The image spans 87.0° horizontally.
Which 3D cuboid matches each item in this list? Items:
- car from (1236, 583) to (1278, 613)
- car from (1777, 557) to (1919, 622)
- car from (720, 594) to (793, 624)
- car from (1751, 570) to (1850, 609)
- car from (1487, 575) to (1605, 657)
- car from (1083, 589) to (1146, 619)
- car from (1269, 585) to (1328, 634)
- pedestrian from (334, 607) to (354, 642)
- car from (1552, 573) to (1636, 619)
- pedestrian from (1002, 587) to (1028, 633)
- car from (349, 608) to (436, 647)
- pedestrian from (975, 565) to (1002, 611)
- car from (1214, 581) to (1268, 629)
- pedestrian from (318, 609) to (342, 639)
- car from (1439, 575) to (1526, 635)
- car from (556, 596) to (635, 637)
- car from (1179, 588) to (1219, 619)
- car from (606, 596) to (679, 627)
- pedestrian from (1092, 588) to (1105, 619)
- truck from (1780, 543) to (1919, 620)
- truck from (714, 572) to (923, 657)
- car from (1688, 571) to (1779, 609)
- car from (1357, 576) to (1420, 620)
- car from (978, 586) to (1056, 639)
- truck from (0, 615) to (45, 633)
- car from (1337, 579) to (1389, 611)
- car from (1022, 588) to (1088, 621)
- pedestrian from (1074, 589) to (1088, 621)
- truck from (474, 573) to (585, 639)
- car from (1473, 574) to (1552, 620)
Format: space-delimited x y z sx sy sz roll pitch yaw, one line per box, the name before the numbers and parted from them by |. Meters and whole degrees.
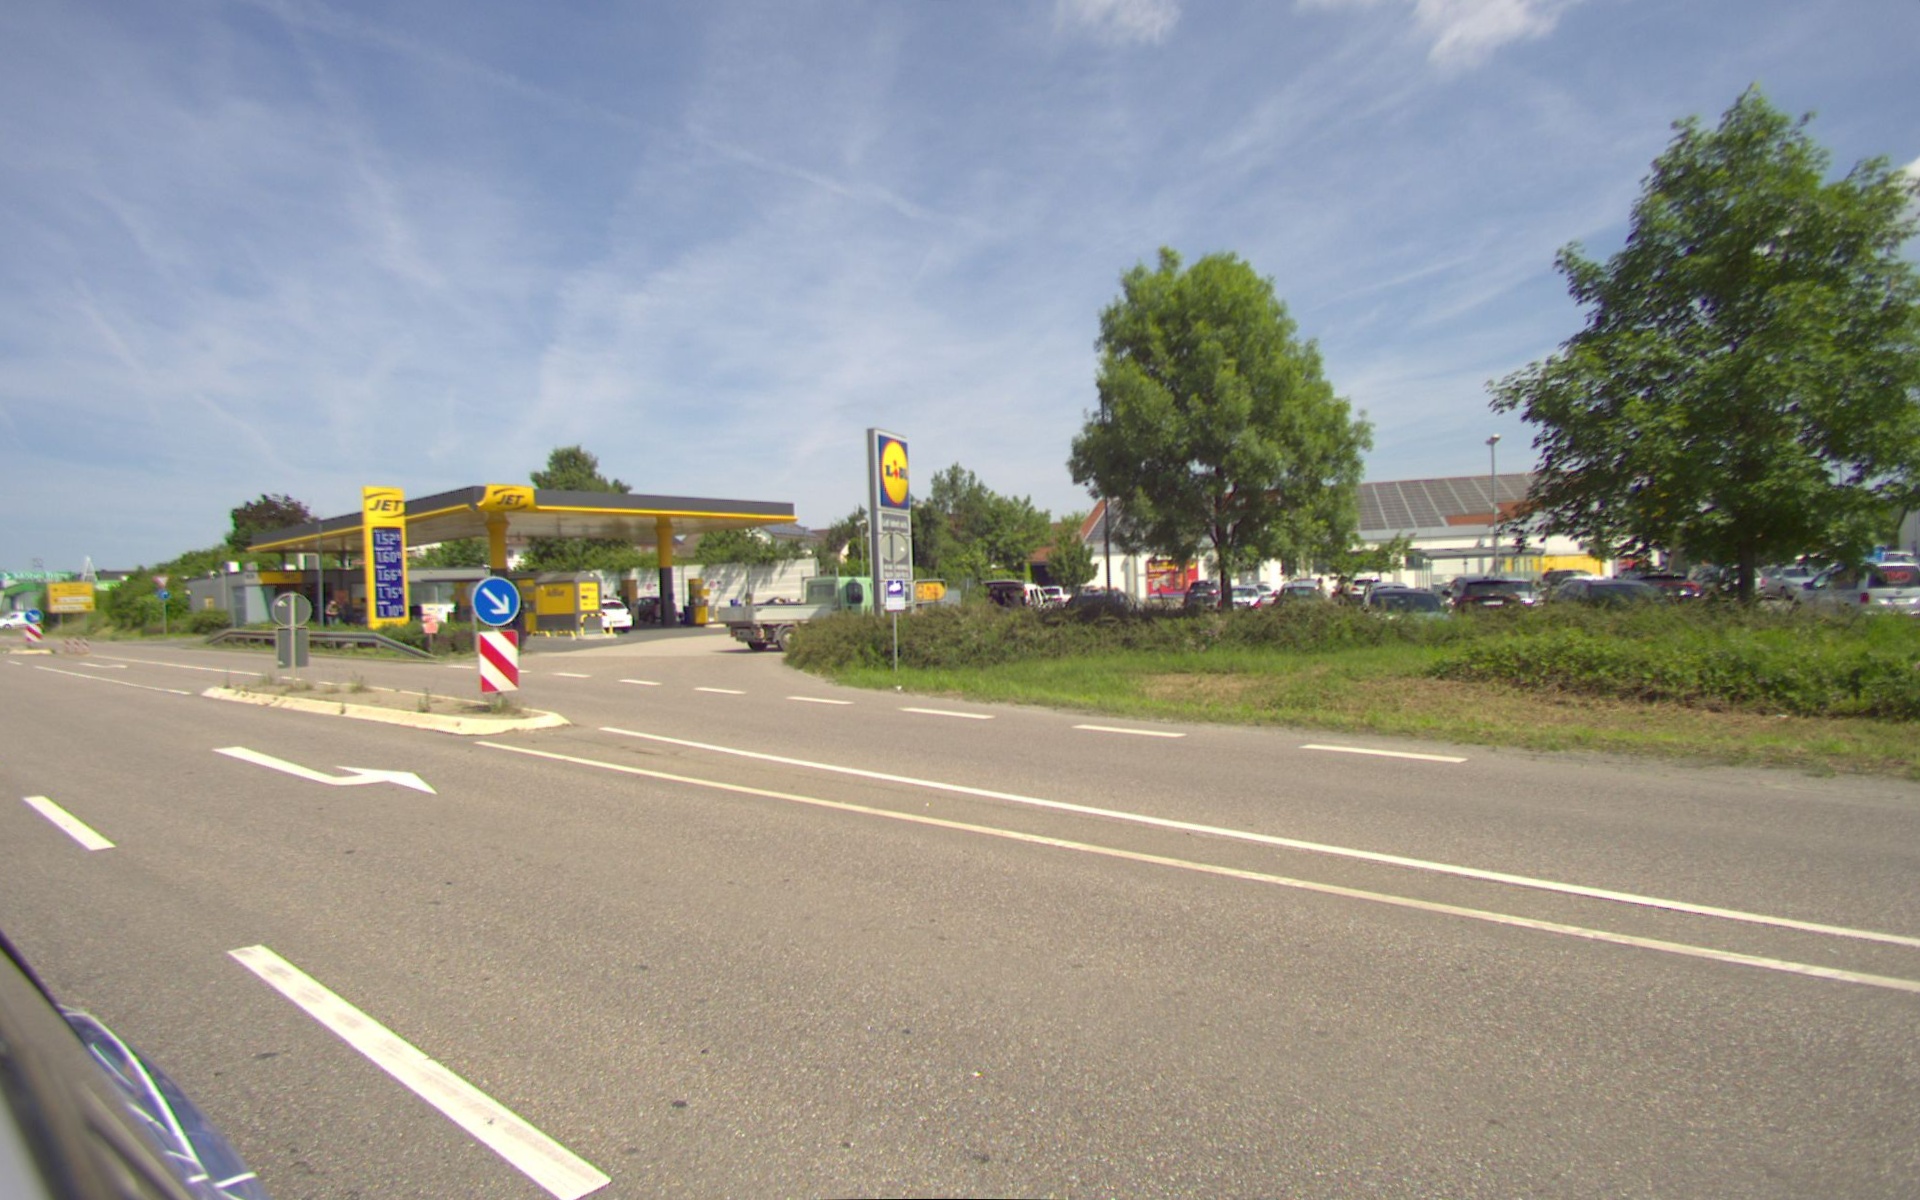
car | 14.908 -0.127 50.918 1.868 1.453 3.981 -1 1 15
car | 25.786 -0.279 29.001 1.981 1.708 4.408 -1 0 14
car | -11.827 0.500 58.973 3.827 1.625 1.750 -1 -1 5
car | 35.500 -0.432 42.877 1.865 1.553 4.231 -1 0 20
car | 12.982 0.318 22.635 1.683 1.670 3.971 -1 0 22
car | 8.112 0.197 53.009 1.879 1.453 3.958 -1 1 31
car | 11.458 0.281 34.290 1.769 1.513 4.122 -2 1 18
pedestrian | -33.766 1.343 55.466 0.639 1.852 0.788 -2 0 41
car | 22.161 -0.140 35.536 1.767 1.540 3.971 -1 0 21
pedestrian | 1.910 0.336 35.092 0.801 1.587 0.701 -1 0 13
car | -26.132 1.261 46.570 4.258 1.719 1.975 -2 -1 38
pedestrian | 1.010 -0.413 35.240 0.801 1.587 0.701 -1 0 13
car | 10.918 0.151 39.174 1.850 1.688 4.399 -2 1 18
pedestrian | -30.607 1.158 49.178 0.901 1.438 0.495 -1 0 -39
car | 16.236 0.113 31.624 1.898 1.687 3.974 -1 1 20
car | -16.177 0.763 44.805 4.001 1.741 1.713 -2 -3 44
car | 12.063 0.137 50.981 1.868 1.453 3.981 -1 1 15
car | -17.720 0.661 56.497 3.862 1.625 1.735 -2 -1 31
pedestrian | 6.967 0.180 50.885 0.504 1.564 0.512 -1 0 30
truck | 29.445 -0.591 33.557 1.981 2.383 3.982 -1 0 14
truck | -4.267 0.418 31.432 6.253 2.393 2.252 -1 -1 -42
car | 33.085 -0.423 43.425 1.865 1.553 4.231 -1 0 20
car | 15.852 -0.072 37.623 1.764 1.540 3.977 -1 0 18
car | 2.171 0.423 37.426 1.865 1.825 4.145 -2 0 17
truck | -111.424 2.828 119.440 1.995 2.024 4.718 -1 1 35
car | 19.548 -0.280 49.249 1.868 1.453 3.981 -1 1 15
car | 5.021 0.230 53.204 1.765 1.551 3.955 -3 0 33
pedestrian | 6.019 0.244 50.486 0.504 1.564 0.512 -1 0 31
truck | -20.516 0.257 48.049 6.278 2.944 2.222 -1 0 40
car | 19.907 -0.117 36.613 1.764 1.540 3.977 -1 0 18
